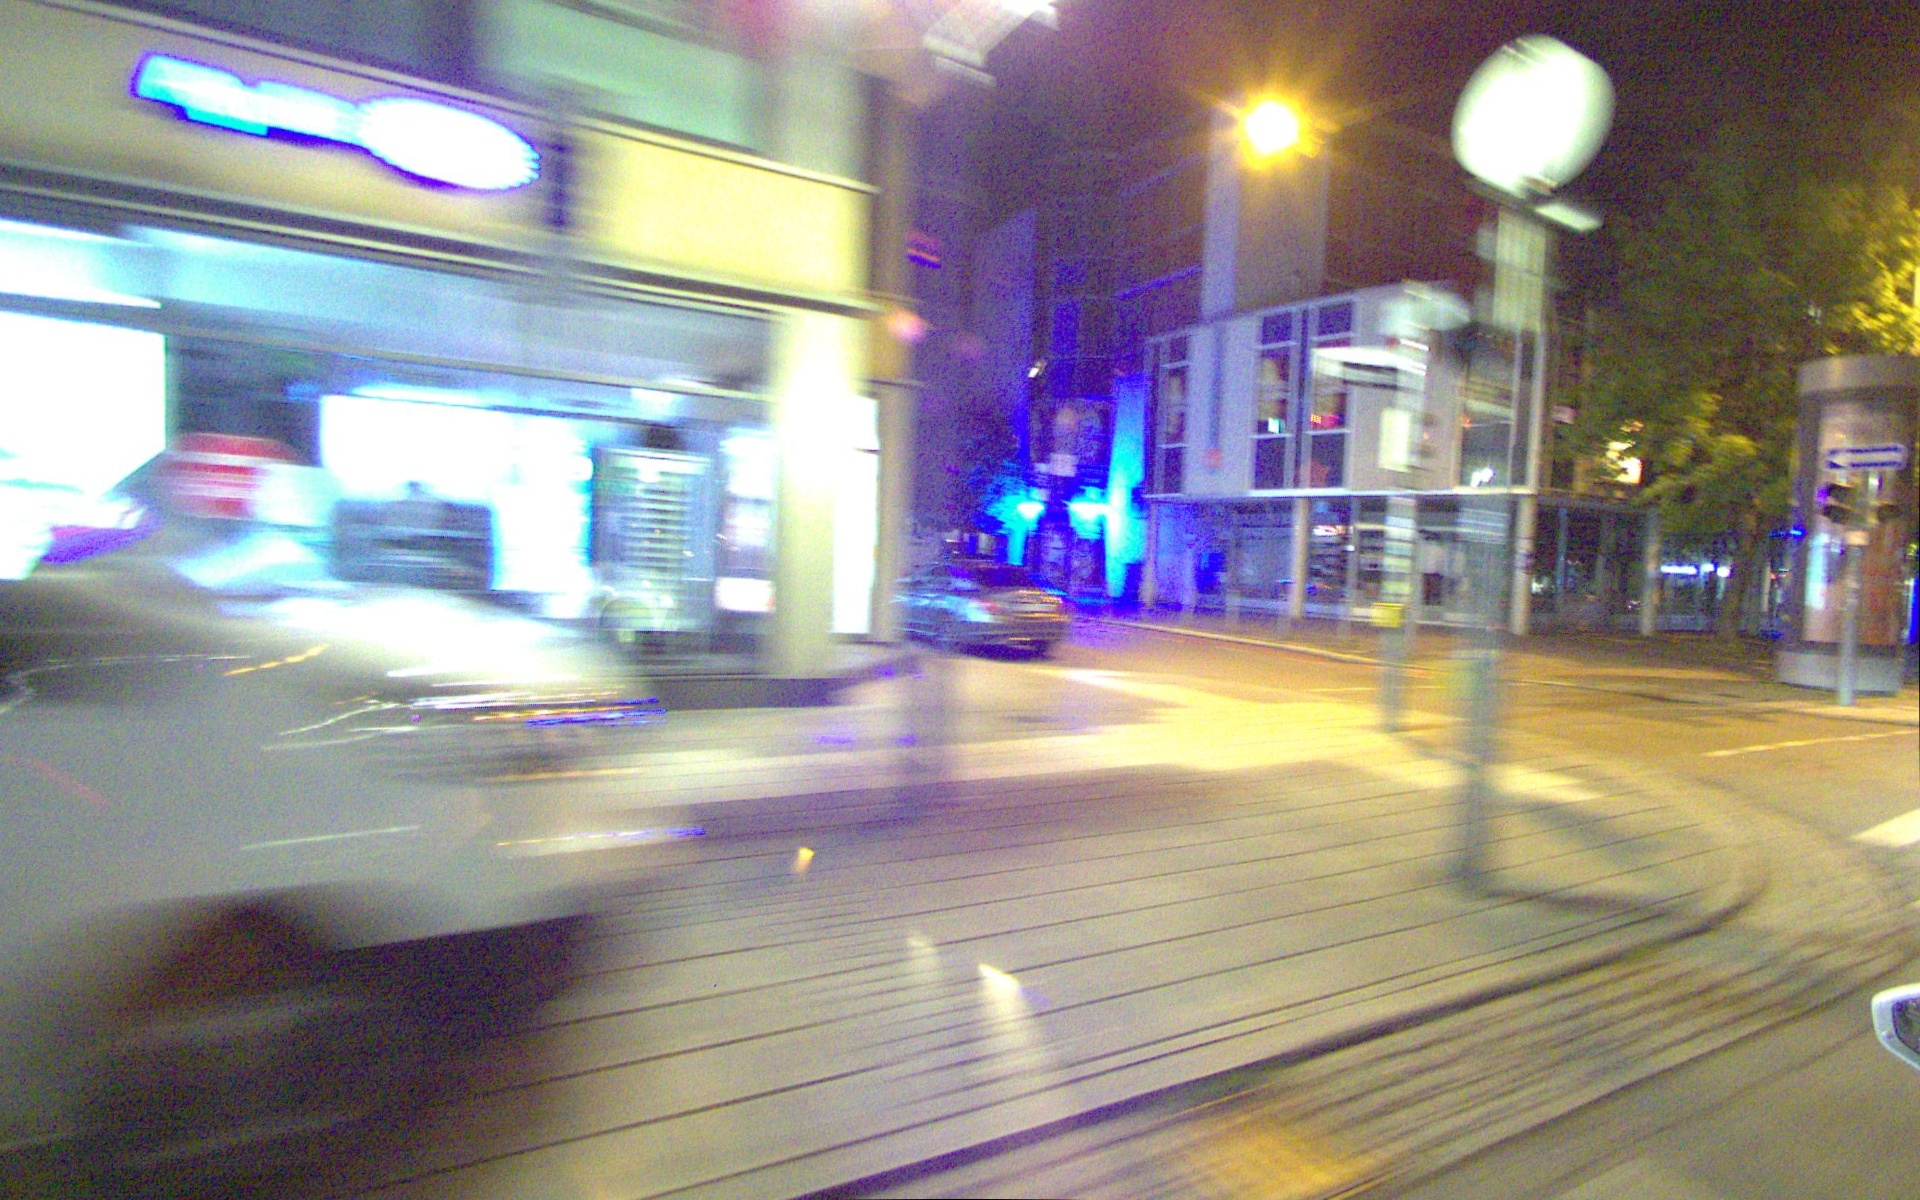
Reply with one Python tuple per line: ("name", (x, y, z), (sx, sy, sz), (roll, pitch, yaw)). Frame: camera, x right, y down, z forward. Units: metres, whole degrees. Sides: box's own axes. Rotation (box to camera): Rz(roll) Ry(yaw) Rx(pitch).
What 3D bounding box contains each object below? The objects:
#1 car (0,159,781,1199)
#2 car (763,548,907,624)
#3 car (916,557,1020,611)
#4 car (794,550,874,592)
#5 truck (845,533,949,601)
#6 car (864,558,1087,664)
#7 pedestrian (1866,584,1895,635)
("car", (-3.102, 0.188, 2.020), (5.036, 2.115, 1.841), (1, 4, -34))
("car", (-2.867, -0.355, 22.189), (1.781, 1.456, 4.118), (1, 3, -28))
("car", (0.174, -0.477, 28.619), (1.639, 1.403, 3.077), (1, 2, -28))
("car", (-4.856, -1.138, 38.285), (1.705, 1.437, 3.881), (1, 2, -28))
("truck", (-2.140, -1.111, 33.025), (1.835, 2.050, 4.011), (1, 3, -28))
("car", (0.088, 0.093, 16.503), (1.781, 1.416, 4.310), (1, 3, -28))
("pedestrian", (30.956, 0.318, 33.779), (0.624, 1.658, 0.476), (1, 2, -27))
